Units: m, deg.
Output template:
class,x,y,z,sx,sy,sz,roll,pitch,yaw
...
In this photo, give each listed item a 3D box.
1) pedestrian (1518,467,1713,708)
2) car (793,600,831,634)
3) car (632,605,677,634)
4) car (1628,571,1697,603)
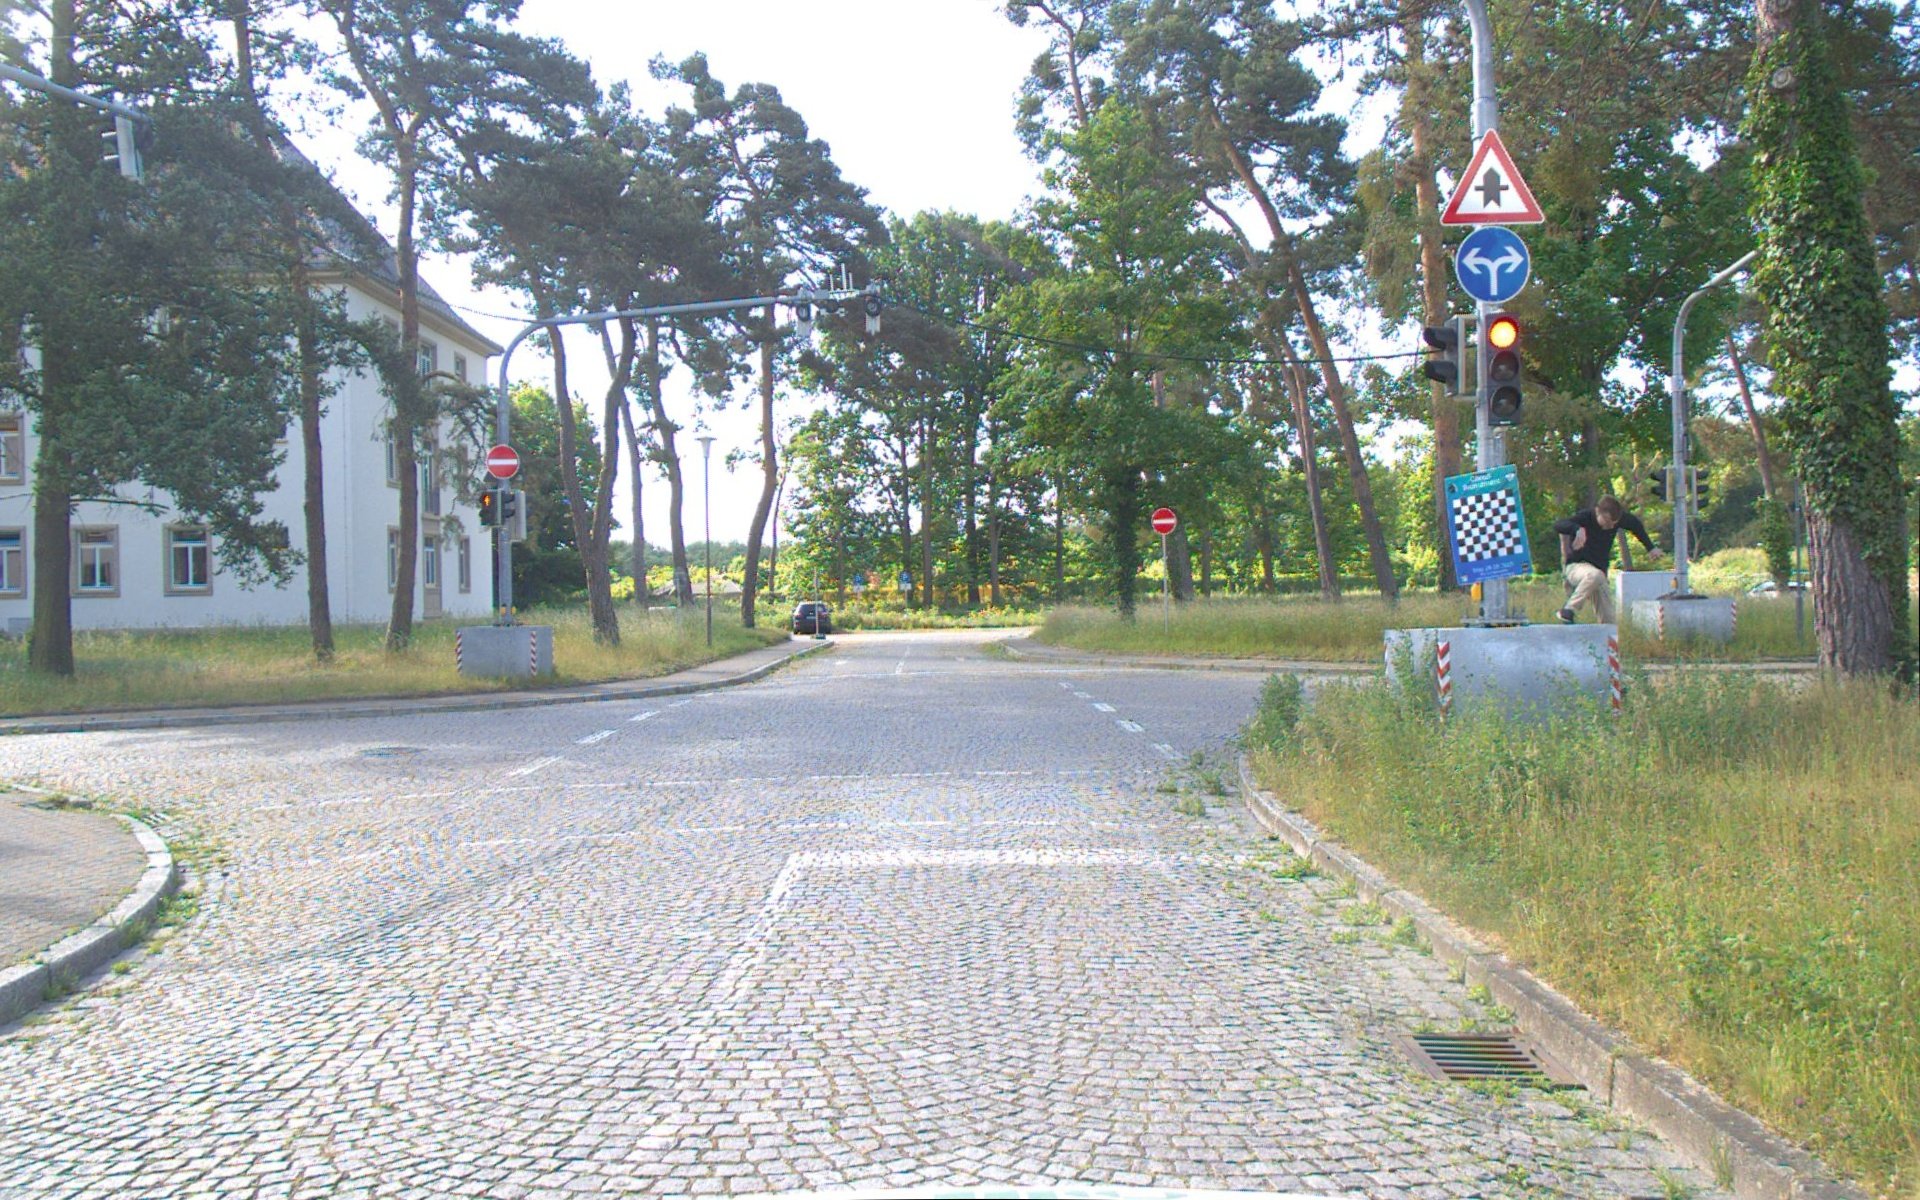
class,x,y,z,sx,sy,sz,roll,pitch,yaw
pedestrian,5.276,-0.103,13.300,1.045,1.827,1.164,-2,0,45
car,-7.201,0.814,80.727,1.676,1.522,3.916,-2,0,-3
car,-14.990,0.952,81.276,1.676,1.296,3.916,-2,0,-3
car,37.190,-0.705,87.693,1.790,1.609,4.161,-1,0,-1
